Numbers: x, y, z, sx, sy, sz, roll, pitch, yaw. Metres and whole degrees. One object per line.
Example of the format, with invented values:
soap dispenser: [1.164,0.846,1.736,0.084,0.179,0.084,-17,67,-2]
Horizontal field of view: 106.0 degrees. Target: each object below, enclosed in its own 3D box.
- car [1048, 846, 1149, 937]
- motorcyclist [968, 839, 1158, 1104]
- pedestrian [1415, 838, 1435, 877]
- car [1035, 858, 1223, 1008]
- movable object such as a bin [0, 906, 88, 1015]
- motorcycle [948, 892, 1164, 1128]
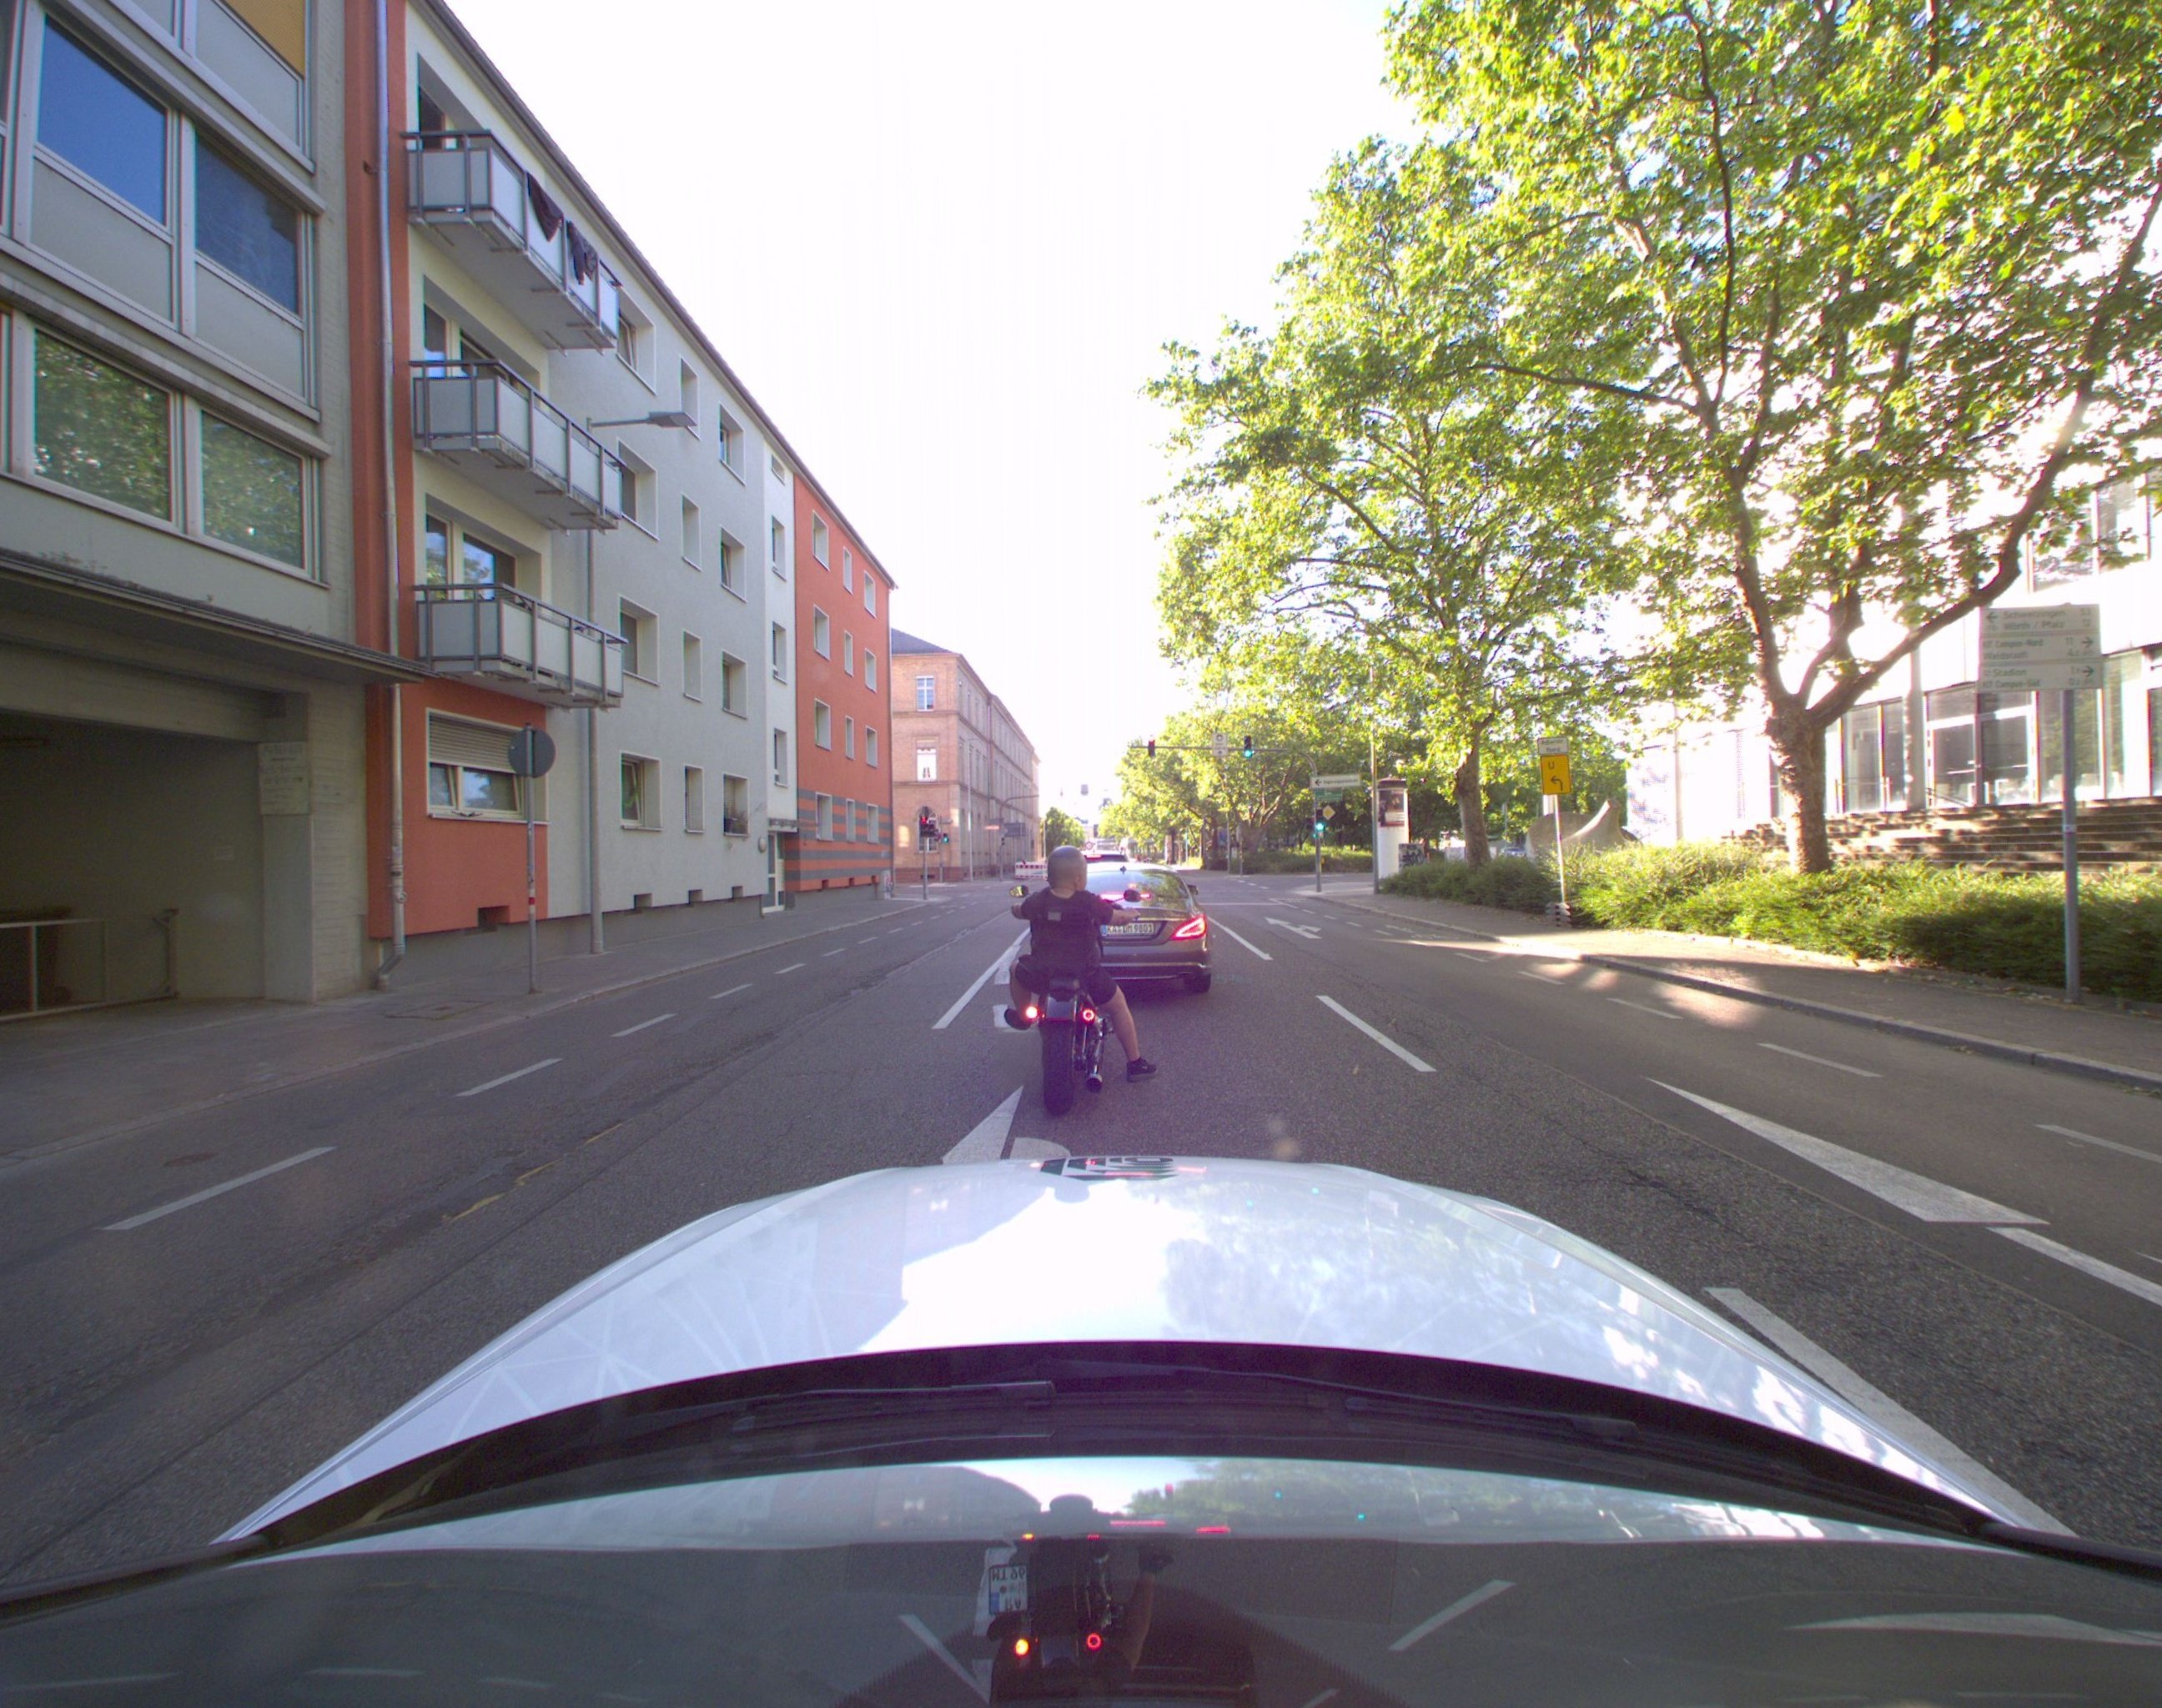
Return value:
car: [0.383,0.711,17.084,1.856,1.678,4.001,0,-1,2]
motorcyclist: [-0.067,0.704,5.420,1.093,1.566,1.074,0,-1,8]
pedestrian: [15.767,0.173,37.301,0.730,1.778,0.732,-1,-1,14]
car: [0.523,0.780,9.796,1.815,1.437,3.807,0,-1,2]
movable object such as a bin: [-11.282,1.111,8.662,0.533,1.079,0.723,0,-1,3]
motorcycle: [-0.039,0.912,5.639,1.111,1.207,2.217,0,-1,8]
